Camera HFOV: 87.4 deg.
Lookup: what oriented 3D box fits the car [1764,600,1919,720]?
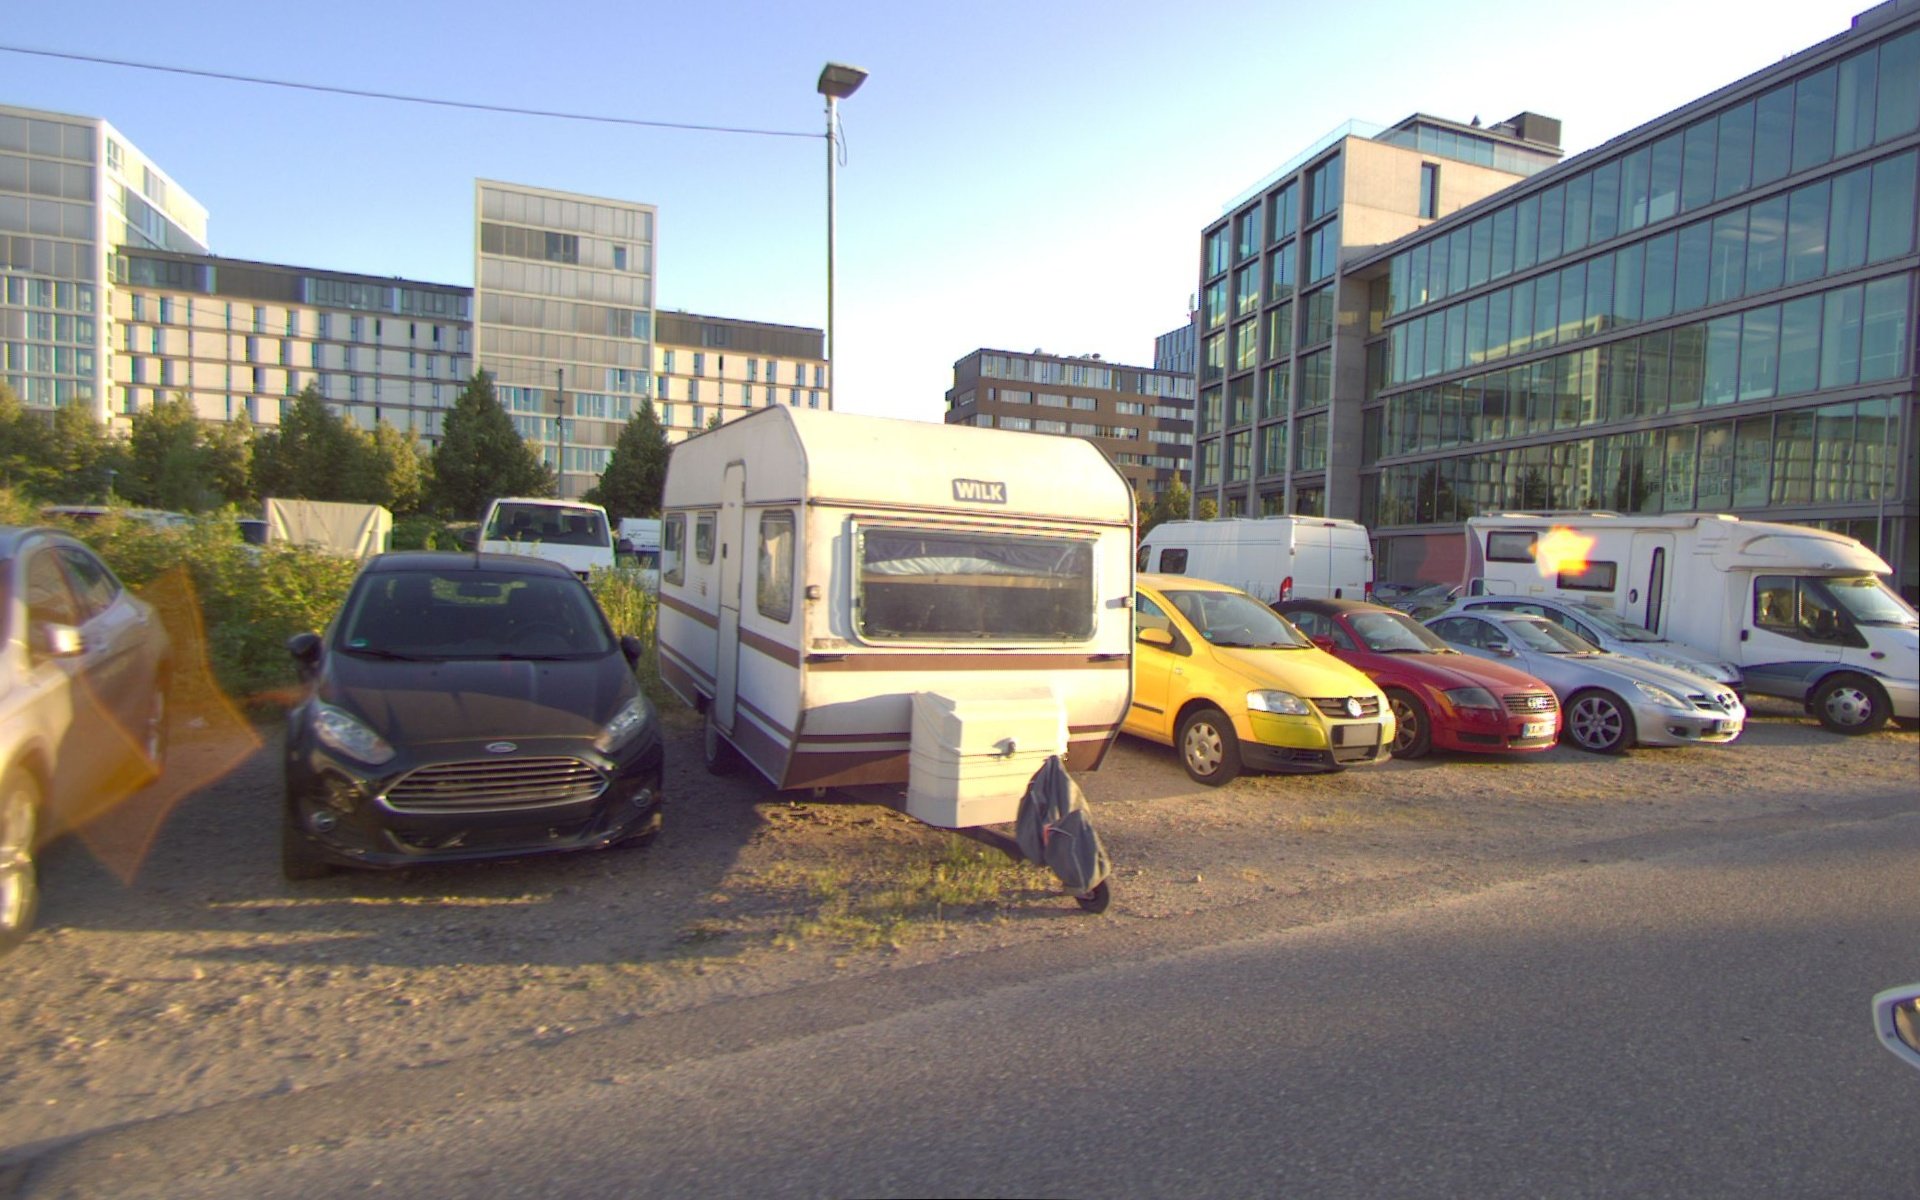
[{"bbox_3d":[14.527,0.892,15.041,4.291,1.539,1.685,2,2,-17],"label":"car"}]

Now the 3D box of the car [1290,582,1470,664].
[{"bbox_3d":[8.809,0.432,21.342,1.492,1.467,3.431,1,3,-22],"label":"car"}]

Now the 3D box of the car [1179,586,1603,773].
[{"bbox_3d":[4.201,0.653,10.375,1.686,1.385,3.706,1,3,-31],"label":"car"}]

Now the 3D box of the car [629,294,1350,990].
[{"bbox_3d":[-0.573,0.022,6.867,2.380,2.568,5.866,2,3,-26],"label":"car"}]

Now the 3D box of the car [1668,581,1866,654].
[{"bbox_3d":[22.960,0.426,28.779,1.818,1.856,4.082,-1,2,-17],"label":"car"}]

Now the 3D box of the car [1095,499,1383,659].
[{"bbox_3d":[5.270,-0.500,20.282,2.191,2.709,6.228,1,3,-22],"label":"car"}]

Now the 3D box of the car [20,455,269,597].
[{"bbox_3d":[-10.121,-0.893,12.771,1.643,1.496,3.592,1,3,-26],"label":"car"}]

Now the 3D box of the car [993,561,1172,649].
[{"bbox_3d":[2.355,0.047,20.130,1.673,1.496,3.585,1,3,-31],"label":"car"}]

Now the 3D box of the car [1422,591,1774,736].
[{"bbox_3d":[8.387,0.731,13.509,1.674,1.496,3.584,1,3,-32],"label":"car"}]

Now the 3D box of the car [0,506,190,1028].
[{"bbox_3d":[-4.610,0.395,4.184,1.728,1.612,4.104,2,3,-31],"label":"car"}]

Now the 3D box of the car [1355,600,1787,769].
[{"bbox_3d":[6.612,0.789,11.319,1.672,1.346,3.790,1,3,-29],"label":"car"}]

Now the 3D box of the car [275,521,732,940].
[{"bbox_3d":[-2.840,0.393,6.065,1.727,1.612,4.107,2,3,-29],"label":"car"}]

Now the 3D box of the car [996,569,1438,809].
[{"bbox_3d":[2.017,0.579,8.865,1.686,1.539,3.609,1,3,-31],"label":"car"}]

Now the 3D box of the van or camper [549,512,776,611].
[{"bbox_3d":[-9.258,-1.165,31.368,6.547,2.726,2.009,2,3,-24],"label":"van or camper"}]

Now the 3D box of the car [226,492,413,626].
[{"bbox_3d":[-8.318,-0.550,13.337,1.643,1.496,3.592,1,3,-26],"label":"car"}]

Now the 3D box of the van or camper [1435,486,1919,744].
[{"bbox_3d":[10.705,0.052,14.627,2.377,2.937,6.715,1,2,-26],"label":"van or camper"}]

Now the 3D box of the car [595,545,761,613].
[{"bbox_3d":[-6.766,-0.483,24.113,3.632,1.481,1.699,1,1,-24],"label":"car"}]

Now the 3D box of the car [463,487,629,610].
[{"bbox_3d":[-6.063,-0.759,15.021,1.952,1.496,4.359,1,3,-20],"label":"car"}]

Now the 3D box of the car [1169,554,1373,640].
[{"bbox_3d":[11.069,-0.093,35.777,6.874,2.840,2.204,1,2,-19],"label":"car"}]
